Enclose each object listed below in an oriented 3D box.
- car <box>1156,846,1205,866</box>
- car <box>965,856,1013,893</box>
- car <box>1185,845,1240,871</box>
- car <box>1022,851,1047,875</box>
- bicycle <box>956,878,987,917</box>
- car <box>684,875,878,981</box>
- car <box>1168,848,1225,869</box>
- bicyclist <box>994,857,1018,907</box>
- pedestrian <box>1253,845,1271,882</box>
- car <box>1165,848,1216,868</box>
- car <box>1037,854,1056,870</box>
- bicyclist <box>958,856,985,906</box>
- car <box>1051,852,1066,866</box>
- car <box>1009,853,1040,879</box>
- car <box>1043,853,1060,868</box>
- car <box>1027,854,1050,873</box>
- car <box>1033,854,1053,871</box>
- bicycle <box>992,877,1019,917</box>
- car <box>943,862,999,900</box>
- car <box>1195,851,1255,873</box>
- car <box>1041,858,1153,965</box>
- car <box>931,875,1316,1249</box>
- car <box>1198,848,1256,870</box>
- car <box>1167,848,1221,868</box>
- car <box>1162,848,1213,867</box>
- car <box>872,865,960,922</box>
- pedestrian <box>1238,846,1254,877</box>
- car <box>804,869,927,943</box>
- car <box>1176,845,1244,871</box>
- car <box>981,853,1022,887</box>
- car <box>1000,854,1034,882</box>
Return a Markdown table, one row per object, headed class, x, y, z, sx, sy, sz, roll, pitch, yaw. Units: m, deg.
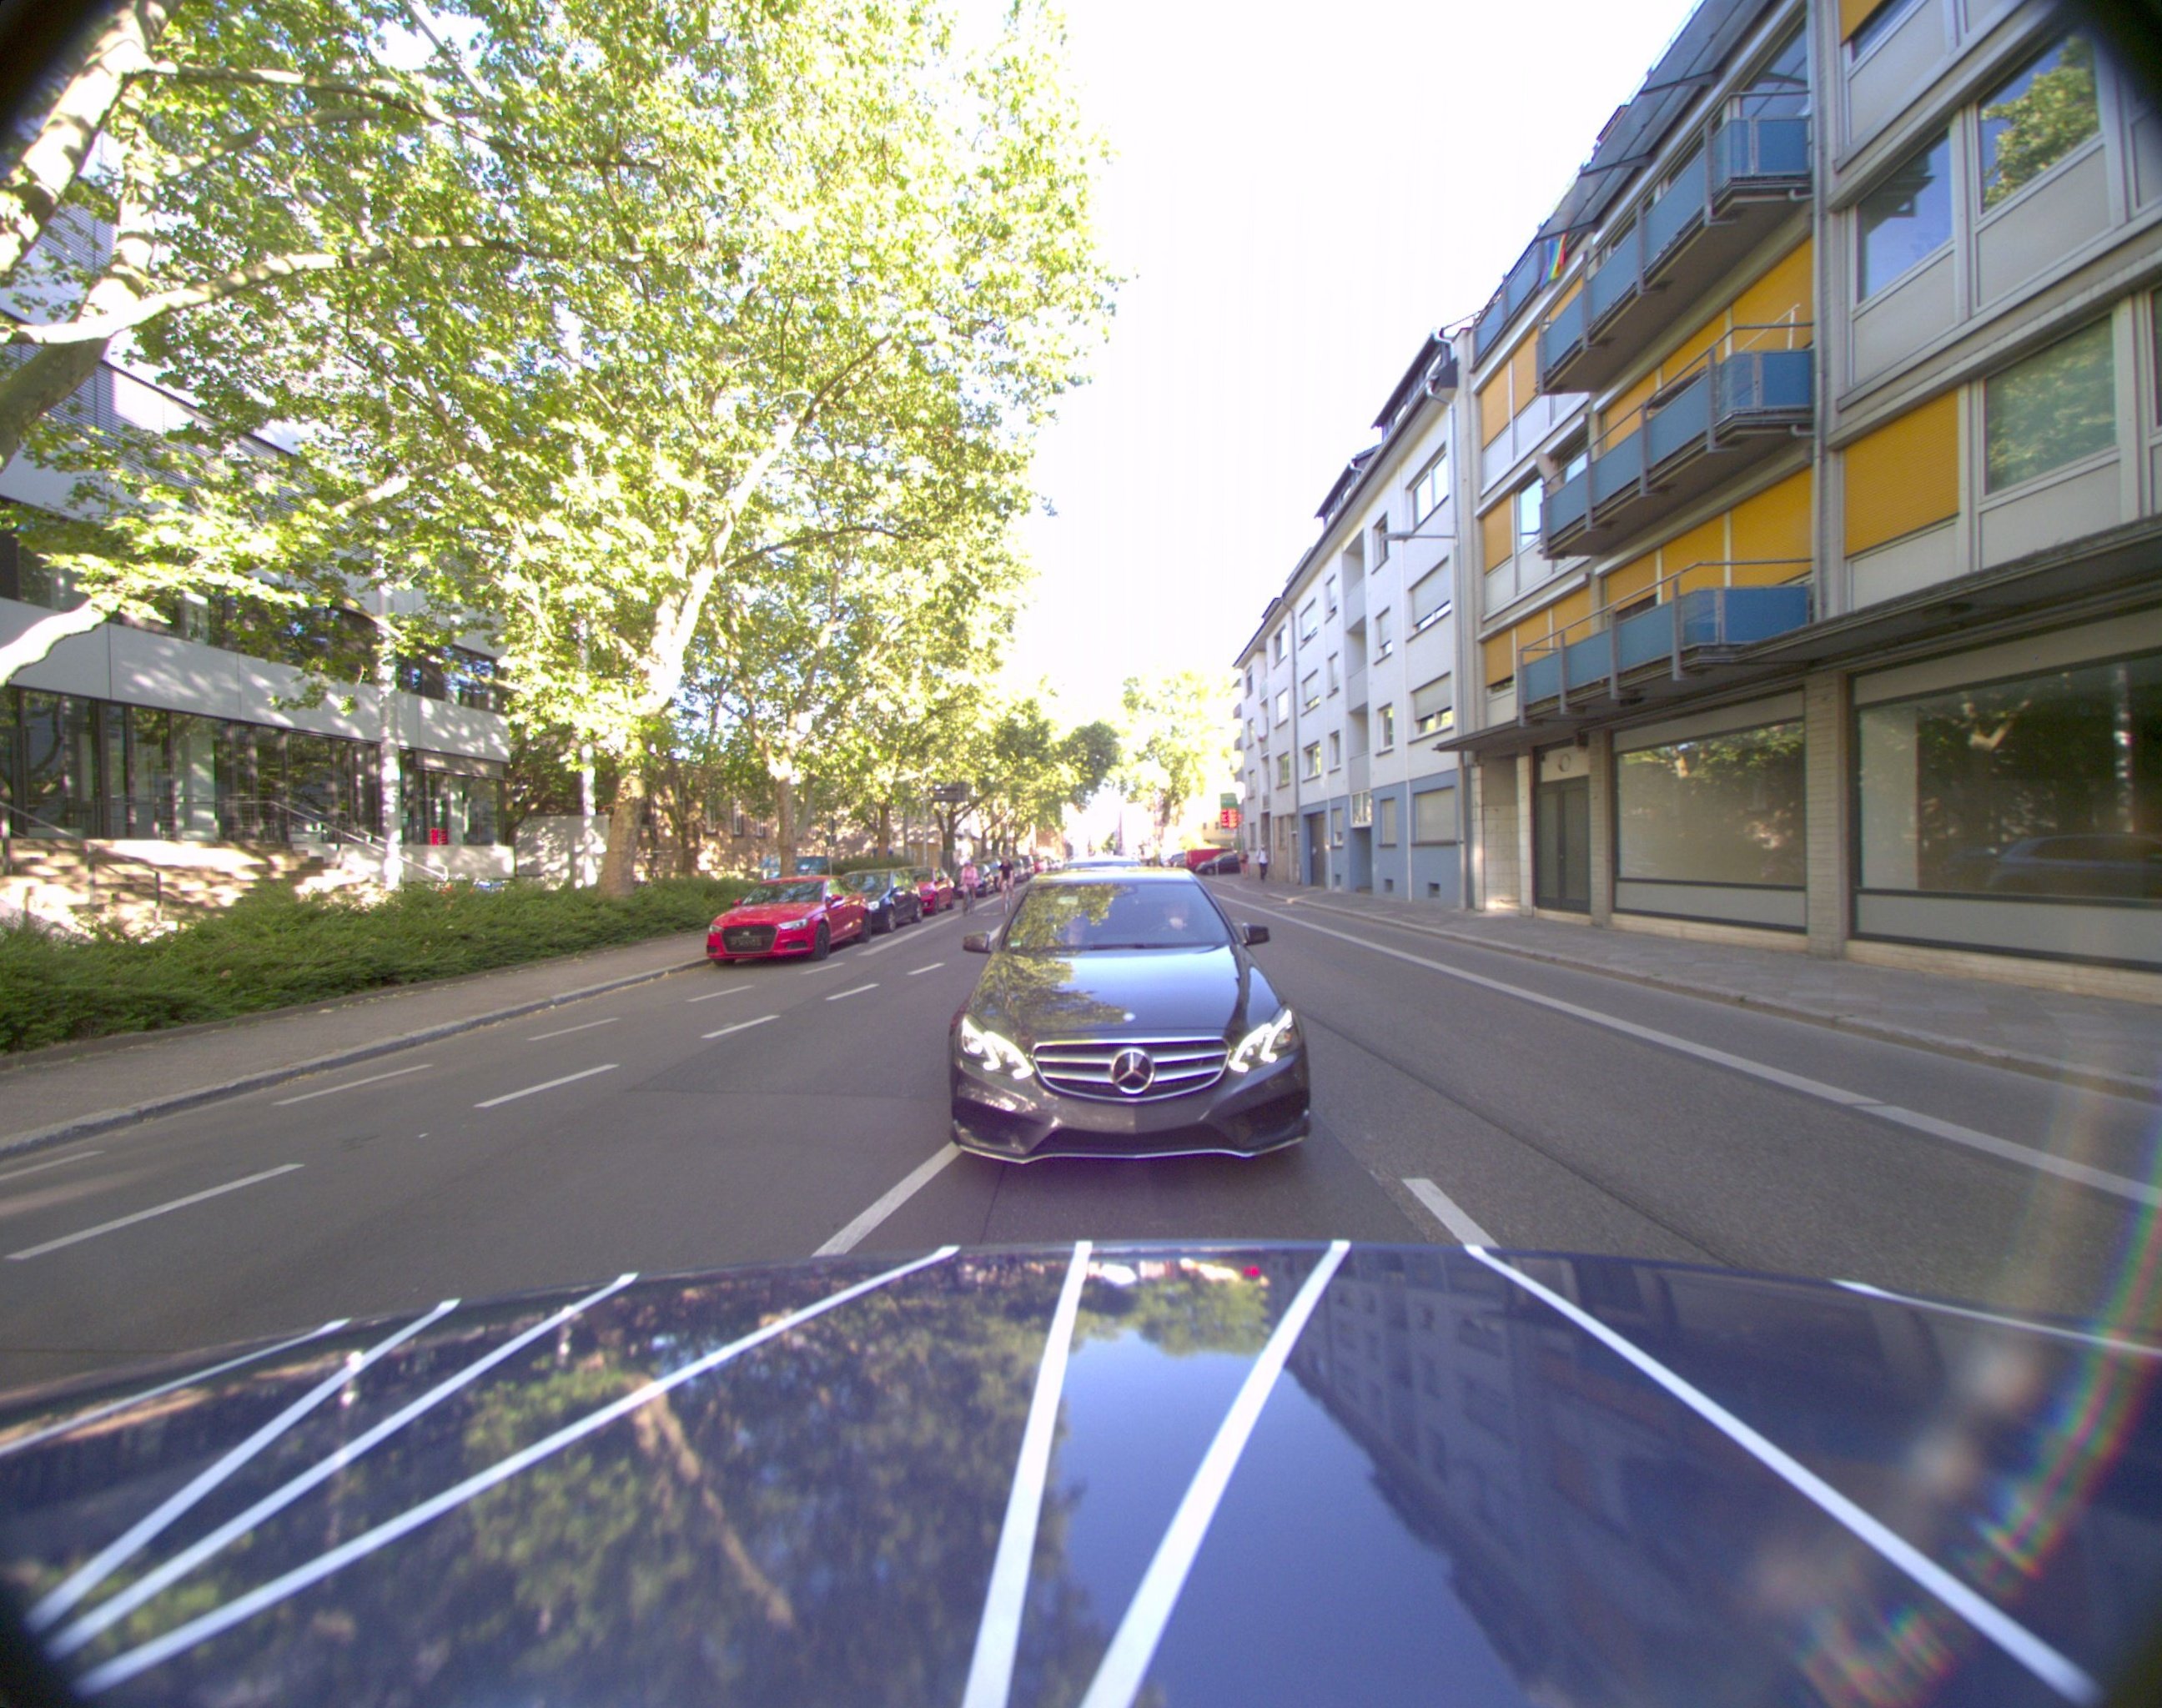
| class | x | y | z | sx | sy | sz | roll | pitch | yaw |
| --- | --- | --- | --- | --- | --- | --- | --- | --- | --- |
| car | 11.190 | 0.197 | 85.531 | 5.143 | 2.135 | 2.187 | -2 | 0 | 1 |
| car | -4.560 | 0.979 | 38.273 | 1.755 | 1.644 | 4.174 | -3 | 0 | 1 |
| car | 10.333 | 0.296 | 60.091 | 3.997 | 1.926 | 1.867 | -2 | 0 | 1 |
| car | -3.995 | 0.732 | 66.399 | 1.755 | 1.941 | 4.447 | -3 | 0 | 1 |
| bicycle | -3.208 | 1.266 | 22.420 | 0.650 | 1.053 | 1.595 | -2 | 0 | 1 |
| car | -5.120 | 1.184 | 13.607 | 1.755 | 1.400 | 4.000 | -3 | 0 | 1 |
| car | 11.101 | 0.439 | 73.532 | 5.143 | 1.926 | 2.187 | -2 | 0 | 1 |
| bicyclist | -2.168 | 0.809 | 22.120 | 0.581 | 1.424 | 0.741 | -2 | 1 | 1 |
| pedestrian | 8.565 | 0.453 | 36.033 | 0.608 | 1.737 | 0.756 | -2 | 1 | 1 |
| car | 11.288 | 0.369 | 78.730 | 4.991 | 1.926 | 2.083 | -2 | 0 | 1 |
| car | -3.775 | 0.874 | 83.525 | 1.755 | 1.652 | 4.447 | -3 | 0 | 1 |
| bicyclist | -3.215 | 0.787 | 22.416 | 0.650 | 1.427 | 0.741 | -2 | 1 | 1 |
| car | -3.015 | 0.654 | 103.213 | 1.755 | 1.652 | 4.447 | -3 | 0 | 1 |
| car | -4.100 | 0.825 | 55.766 | 1.755 | 1.753 | 4.447 | -3 | 0 | 1 |
| car | -3.647 | 0.777 | 93.014 | 1.755 | 1.652 | 4.447 | -3 | 0 | 1 |
| car | -4.001 | 0.907 | 72.185 | 1.755 | 1.652 | 4.447 | -3 | 0 | 1 |
| car | -3.849 | 0.842 | 77.457 | 1.755 | 1.652 | 4.447 | -3 | 0 | 1 |
| bicycle | -2.166 | 1.221 | 22.069 | 0.574 | 1.053 | 1.595 | -2 | 0 | 1 |
| car | -4.746 | 1.121 | 33.303 | 1.755 | 1.424 | 3.909 | -3 | 0 | 1 |
| car | 10.359 | 0.558 | 54.791 | 3.997 | 1.412 | 1.743 | -2 | 0 | 1 |
| car | 0.275 | 0.886 | 13.619 | 1.667 | 1.563 | 4.000 | -1 | 0 | 1 |
| car | 0.216 | 0.983 | 5.367 | 1.667 | 1.499 | 4.000 | -1 | 0 | 1 |
| car | 10.915 | 0.387 | 57.002 | 3.997 | 1.552 | 1.743 | -2 | 0 | 1 |
| car | 11.273 | 0.400 | 76.232 | 5.054 | 1.926 | 2.161 | -2 | 0 | 1 |
| car | 11.323 | 0.344 | 81.195 | 5.042 | 1.926 | 2.315 | -2 | 0 | 1 |
| car | -5.030 | 1.149 | 23.665 | 1.755 | 1.459 | 3.909 | -3 | 0 | 1 |
| pedestrian | 8.796 | 0.403 | 40.591 | 0.604 | 1.632 | 0.842 | -2 | 1 | 1 |
| car | -5.081 | 1.175 | 18.453 | 1.755 | 1.424 | 3.909 | -3 | 0 | 1 |
| car | 10.638 | 0.290 | 63.116 | 5.223 | 1.969 | 2.257 | -2 | 0 | 1 |
| car | -4.550 | 0.874 | 44.072 | 1.755 | 1.810 | 4.447 | -3 | 0 | 1 |
| car | -4.270 | 0.883 | 50.955 | 1.755 | 1.718 | 4.447 | -3 | 0 | 1 |
